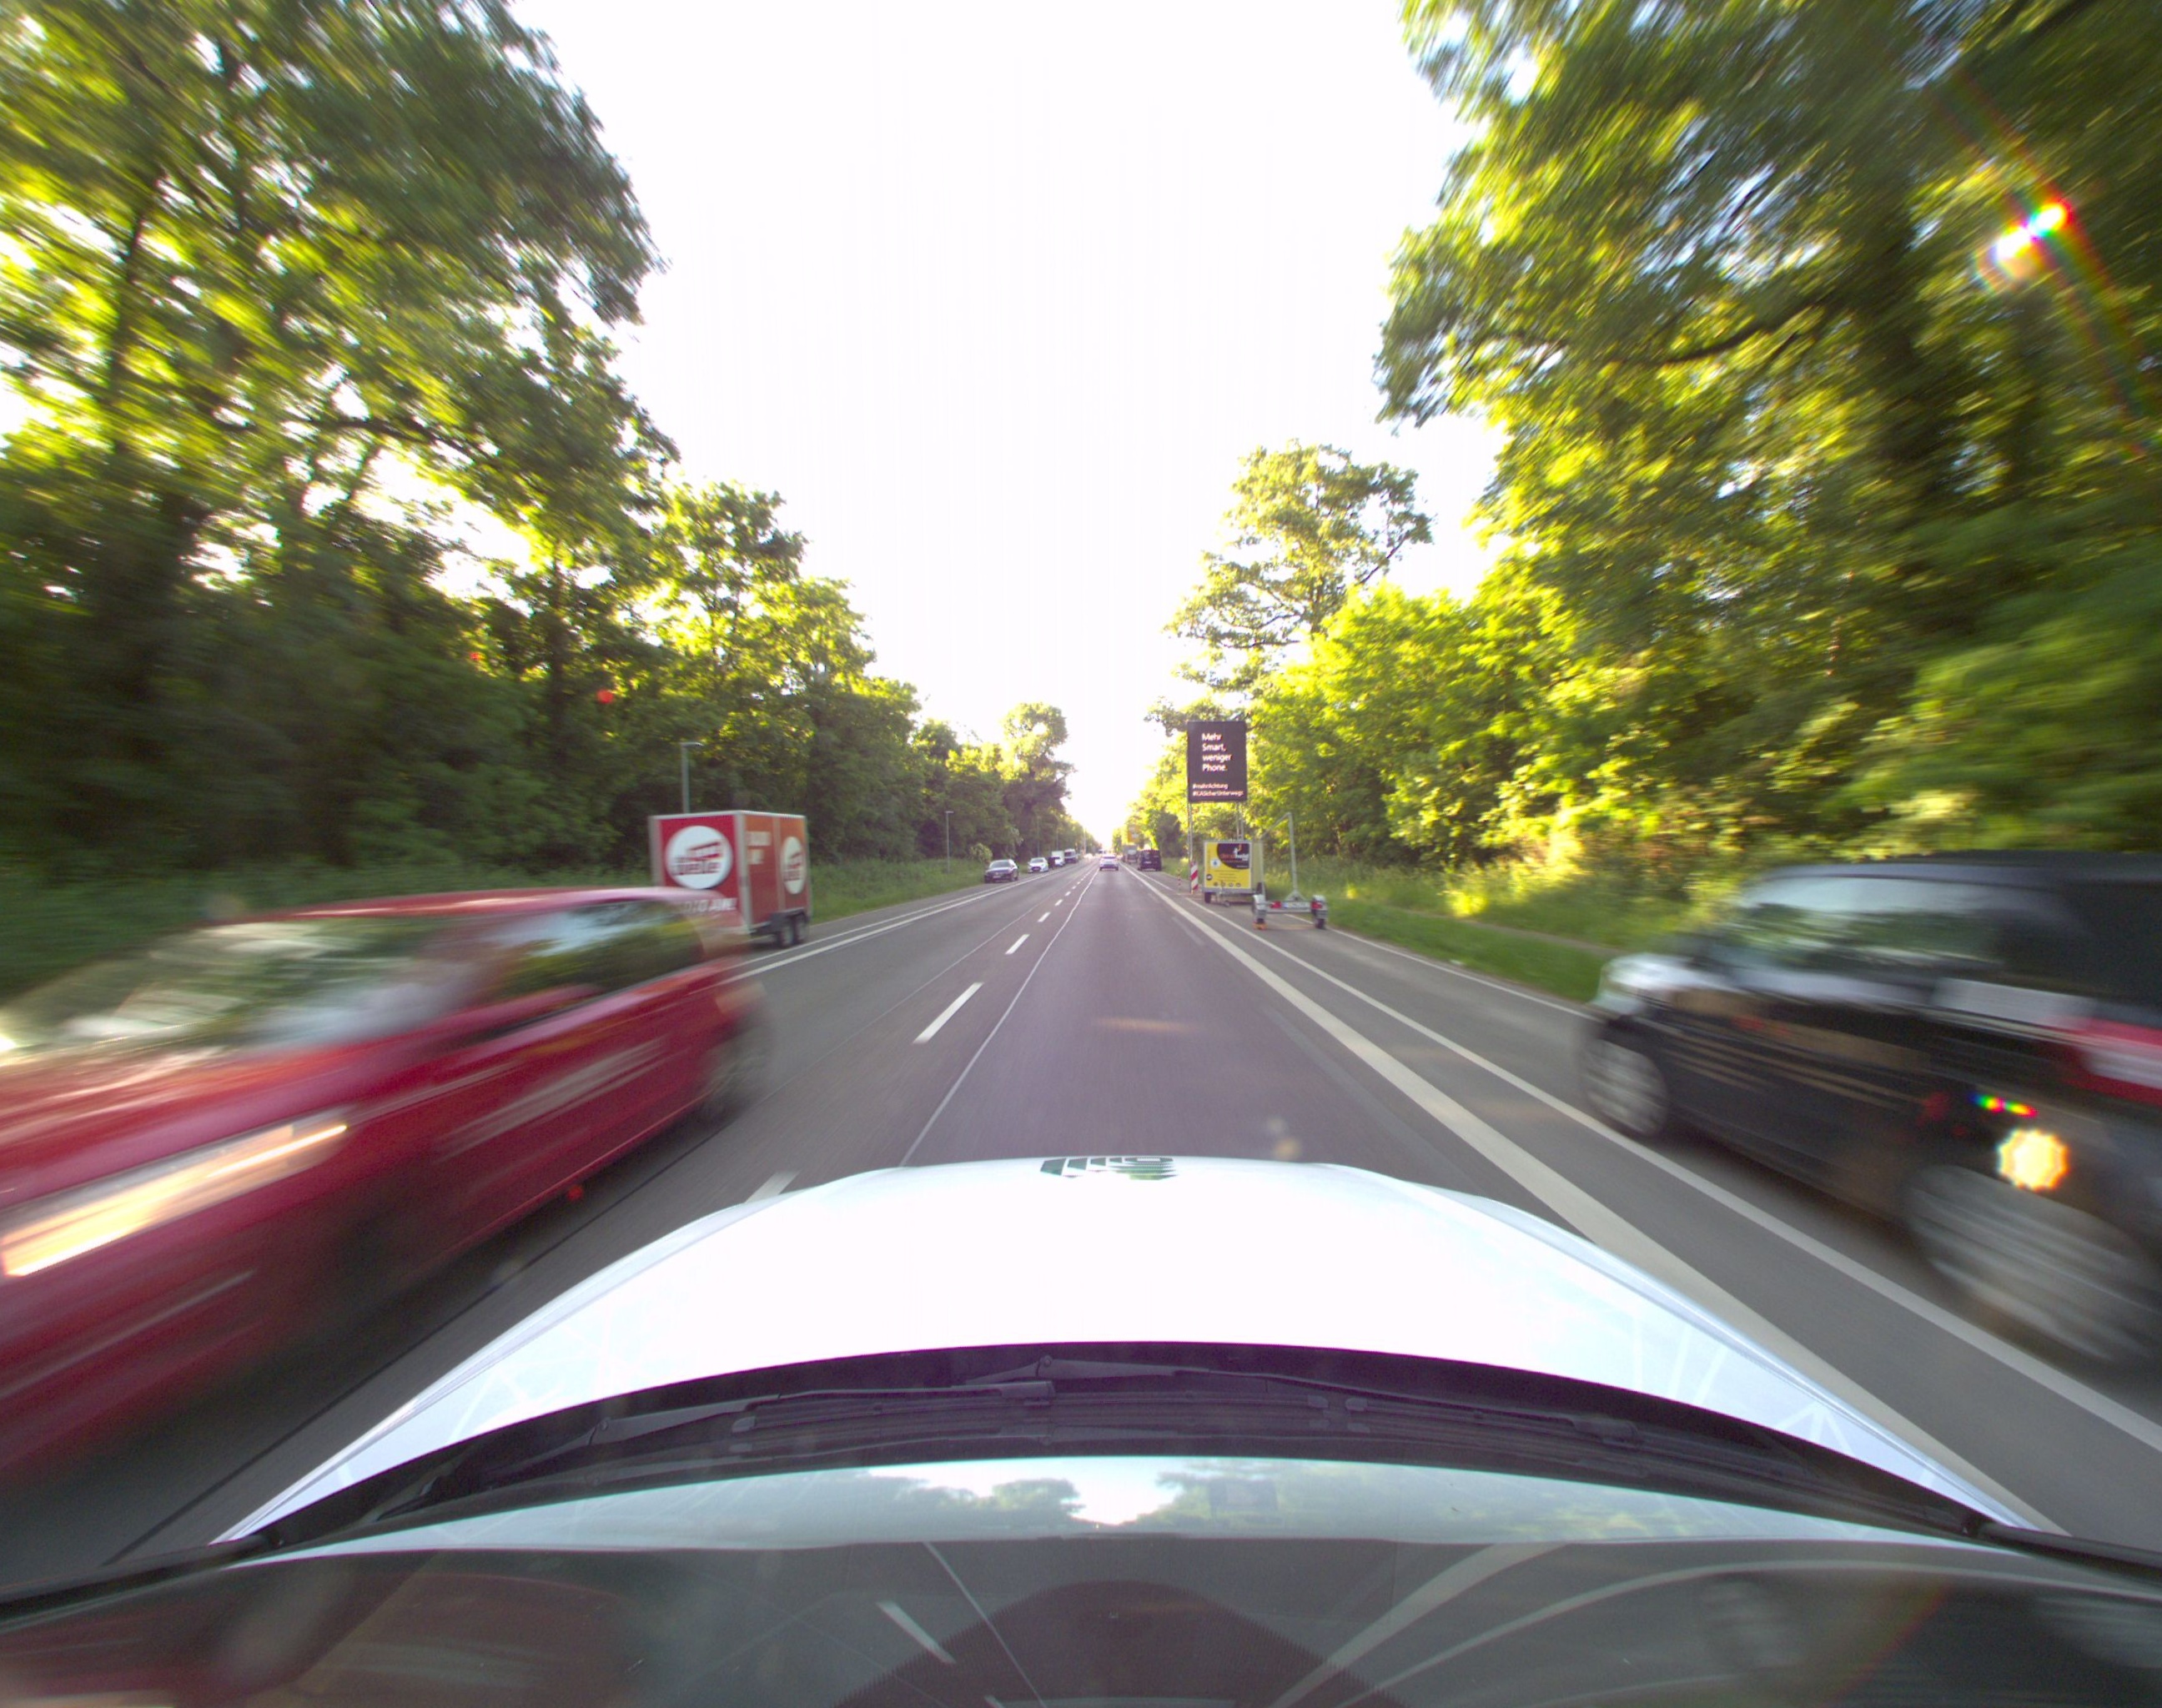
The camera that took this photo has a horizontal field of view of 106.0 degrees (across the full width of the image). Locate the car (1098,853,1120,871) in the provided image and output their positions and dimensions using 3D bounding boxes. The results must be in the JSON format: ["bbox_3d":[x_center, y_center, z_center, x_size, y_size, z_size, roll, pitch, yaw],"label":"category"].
[{"bbox_3d":[2.685,0.755,78.133,1.986,1.640,4.002,-2,0,2],"label":"car"}]

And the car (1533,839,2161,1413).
[{"bbox_3d":[3.621,0.725,3.667,1.580,1.530,3.012,0,0,2],"label":"car"}]

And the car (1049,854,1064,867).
[{"bbox_3d":[-3.312,0.842,109.066,1.808,1.571,4.206,-4,0,0],"label":"car"}]

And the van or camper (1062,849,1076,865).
[{"bbox_3d":[-2.258,0.552,153.446,2.293,2.768,5.560,-4,0,2],"label":"van or camper"}]

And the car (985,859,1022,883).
[{"bbox_3d":[-5.131,1.089,54.338,1.848,1.464,4.786,-1,0,2],"label":"car"}]

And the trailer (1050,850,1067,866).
[{"bbox_3d":[-3.342,0.628,122.306,2.066,2.293,3.490,-2,0,4],"label":"trailer"}]

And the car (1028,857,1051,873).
[{"bbox_3d":[-4.117,1.080,81.208,1.860,1.450,4.073,-4,0,2],"label":"car"}]

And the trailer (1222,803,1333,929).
[{"bbox_3d":[4.259,0.246,18.239,1.607,2.508,4.001,0,0,2],"label":"trailer"}]

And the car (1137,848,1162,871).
[{"bbox_3d":[6.329,0.477,75.953,2.105,2.013,5.042,1,0,2],"label":"car"}]

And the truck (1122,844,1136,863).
[{"bbox_3d":[8.842,-0.133,150.029,2.495,3.366,7.111,0,0,2],"label":"truck"}]

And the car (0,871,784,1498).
[{"bbox_3d":[-2.886,0.865,3.740,1.598,1.420,3.520,-3,0,2],"label":"car"}]

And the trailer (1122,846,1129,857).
[{"bbox_3d":[9.470,-0.462,173.630,1.494,2.235,4.552,0,0,2],"label":"trailer"}]

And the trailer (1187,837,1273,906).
[{"bbox_3d":[4.826,0.500,25.913,1.945,2.022,3.864,-1,0,21],"label":"trailer"}]

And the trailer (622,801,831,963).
[{"bbox_3d":[-6.459,0.461,15.425,1.986,2.621,4.088,-2,0,2],"label":"trailer"}]

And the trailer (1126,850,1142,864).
[{"bbox_3d":[7.775,0.412,119.942,1.600,2.112,2.409,-1,0,22],"label":"trailer"}]
